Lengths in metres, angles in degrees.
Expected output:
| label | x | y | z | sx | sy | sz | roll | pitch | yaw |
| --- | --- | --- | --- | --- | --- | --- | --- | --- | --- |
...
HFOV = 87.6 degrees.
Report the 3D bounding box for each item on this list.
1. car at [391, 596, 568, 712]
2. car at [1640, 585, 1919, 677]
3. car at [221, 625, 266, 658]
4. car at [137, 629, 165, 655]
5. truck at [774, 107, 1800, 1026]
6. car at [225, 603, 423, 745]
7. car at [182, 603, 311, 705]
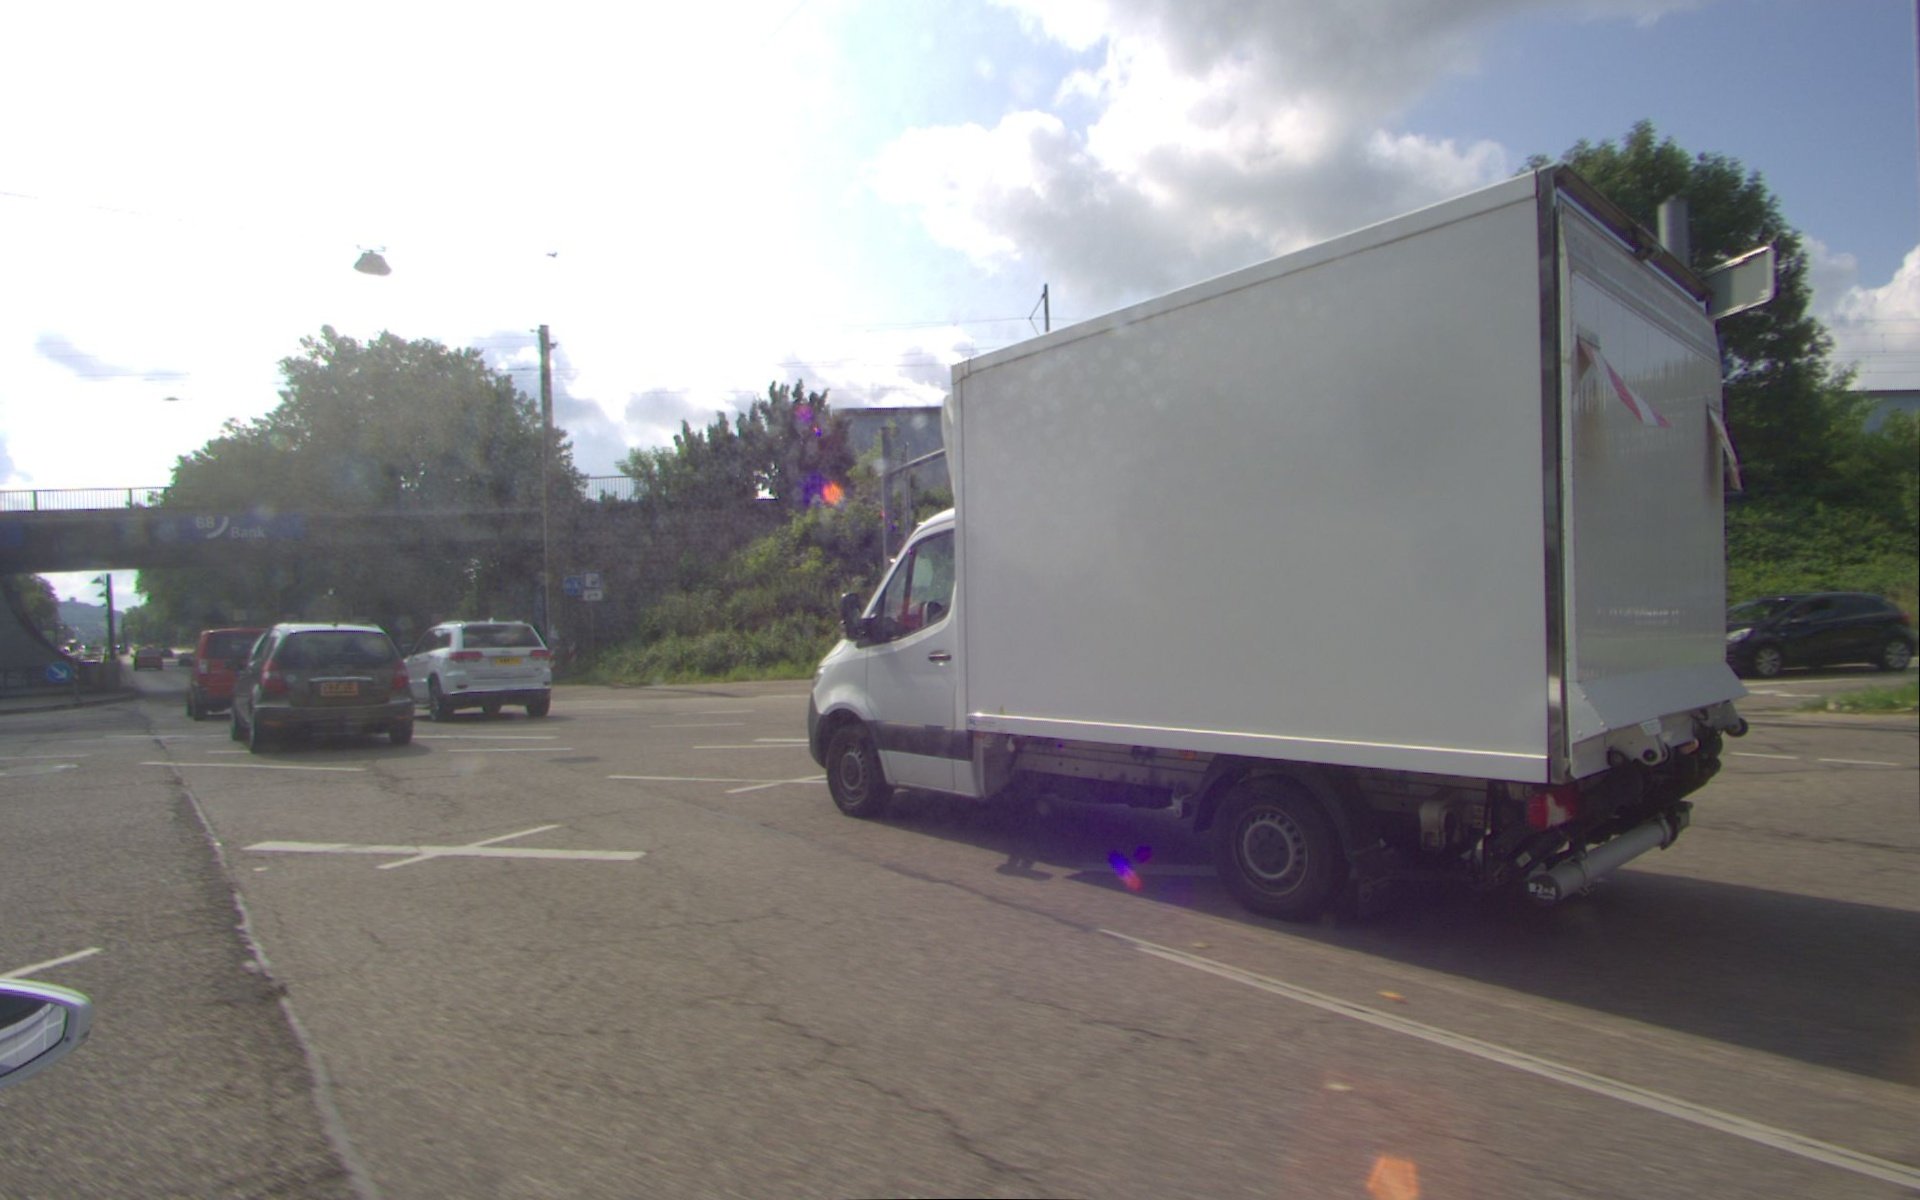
| label | x | y | z | sx | sy | sz | roll | pitch | yaw |
| --- | --- | --- | --- | --- | --- | --- | --- | --- | --- |
| car | -9.203 | 0.977 | 18.966 | 1.979 | 1.926 | 4.472 | 0 | -2 | -40 |
| car | 14.921 | 0.551 | 18.363 | 3.754 | 1.539 | 1.742 | -1 | 0 | -3 |
| car | -35.983 | 2.074 | 50.308 | 1.759 | 1.578 | 3.973 | 1 | -2 | -36 |
| car | -69.331 | 3.589 | 85.815 | 1.784 | 2.151 | 3.737 | 1 | -2 | -38 |
| truck | 1.384 | -0.052 | 6.519 | 2.429 | 3.162 | 5.975 | 0 | -1 | -41 |
| car | -8.655 | 0.926 | 13.498 | 1.778 | 1.629 | 3.768 | 1 | -3 | -40 |
| car | -16.163 | 1.191 | 22.577 | 1.941 | 2.042 | 4.637 | 2 | -3 | -41 |
